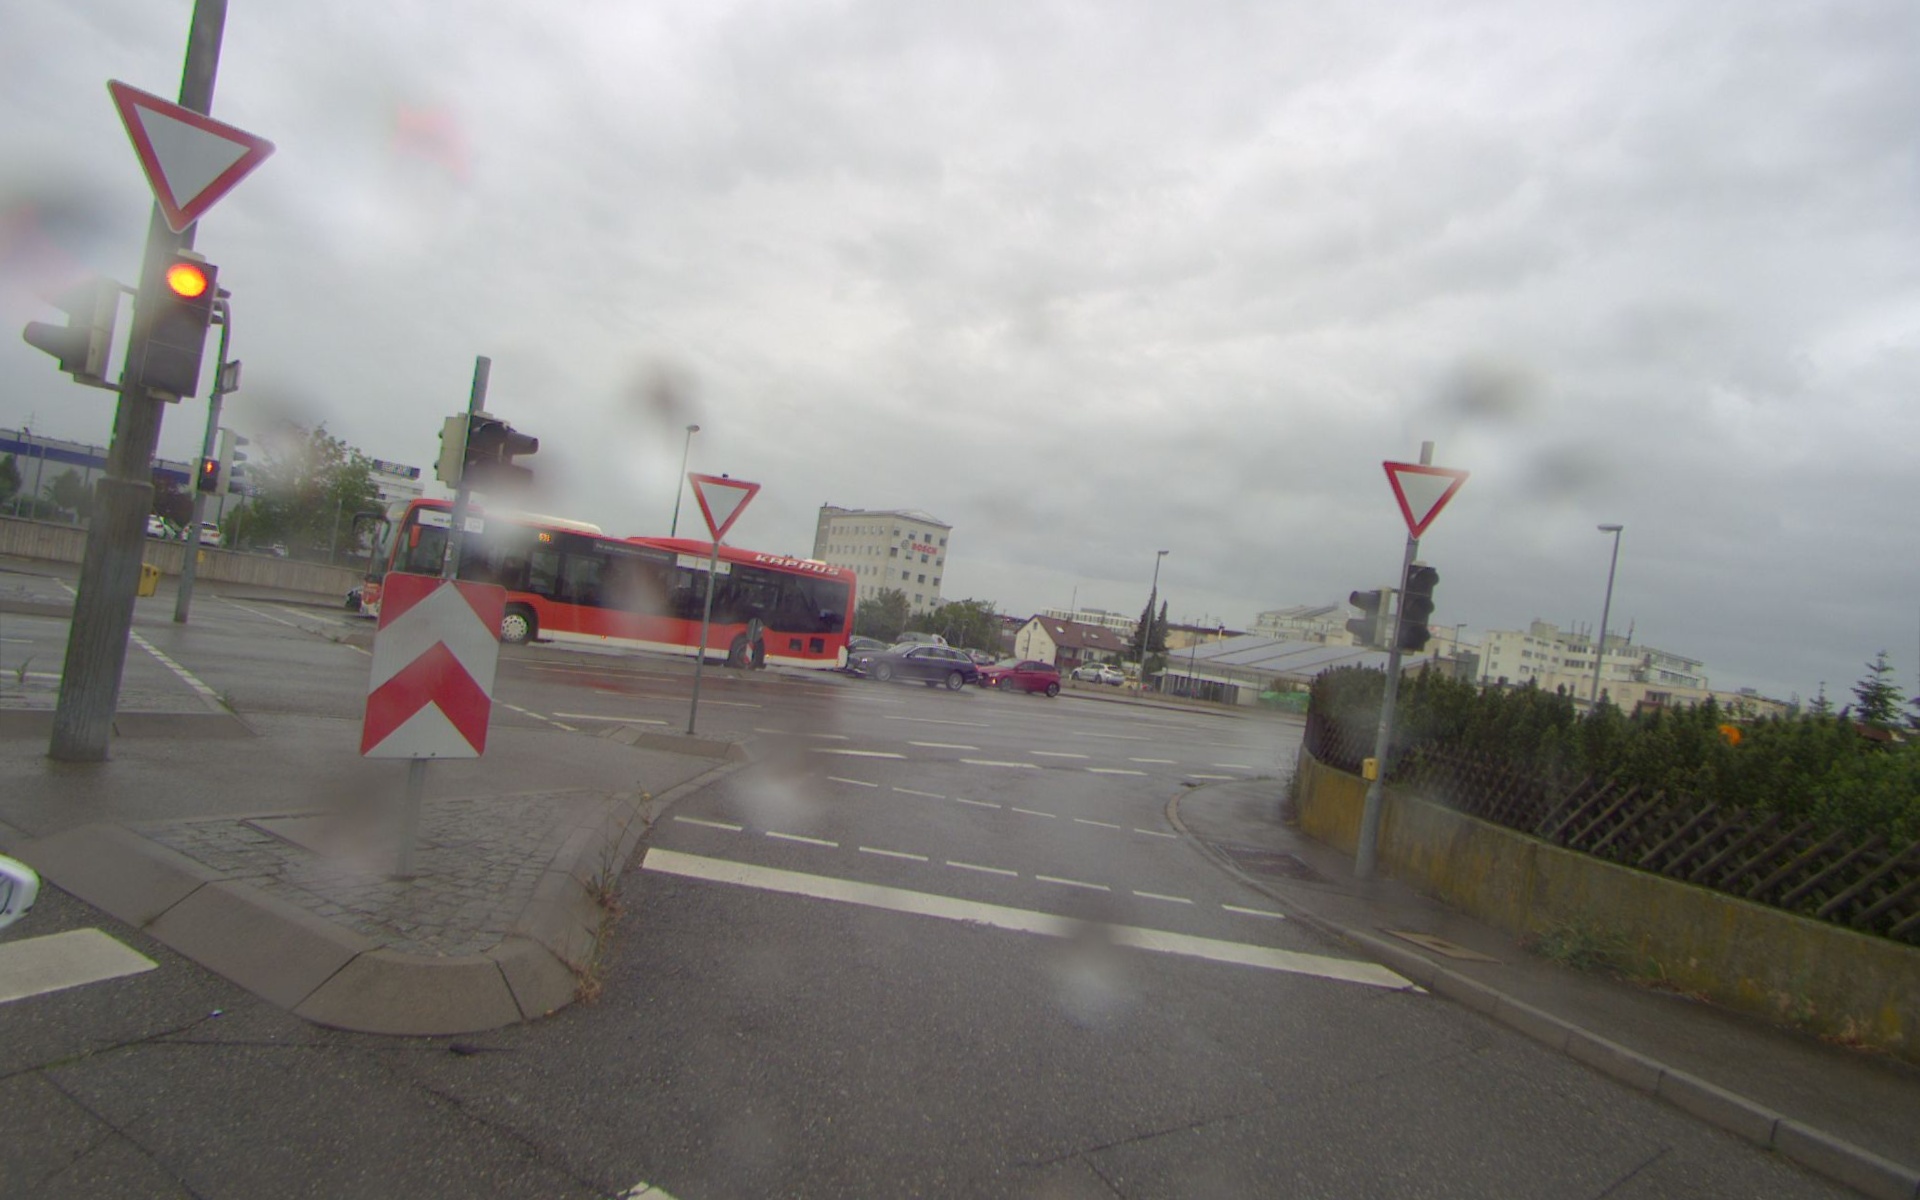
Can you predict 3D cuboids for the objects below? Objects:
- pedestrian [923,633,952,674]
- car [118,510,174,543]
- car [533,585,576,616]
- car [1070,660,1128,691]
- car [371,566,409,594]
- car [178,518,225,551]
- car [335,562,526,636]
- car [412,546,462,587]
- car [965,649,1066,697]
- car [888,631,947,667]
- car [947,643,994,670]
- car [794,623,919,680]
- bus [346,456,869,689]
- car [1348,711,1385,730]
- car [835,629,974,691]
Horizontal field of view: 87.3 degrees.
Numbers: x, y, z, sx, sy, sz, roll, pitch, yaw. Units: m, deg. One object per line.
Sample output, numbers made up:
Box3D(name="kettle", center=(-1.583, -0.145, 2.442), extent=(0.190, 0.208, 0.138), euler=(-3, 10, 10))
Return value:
Box3D(name="pedestrian", center=(-1.039, 2.430, 45.906), extent=(0.819, 1.723, 0.893), euler=(8, -1, -30))
Box3D(name="car", center=(-45.615, -4.109, 56.449), extent=(1.805, 1.450, 4.071), euler=(8, -2, -32))
Box3D(name="car", center=(-31.898, 0.047, 79.079), extent=(1.983, 2.037, 3.962), euler=(8, -2, -36))
Box3D(name="car", center=(9.651, 5.224, 70.121), extent=(1.976, 1.561, 3.977), euler=(9, -2, -25))
Box3D(name="car", center=(-41.515, -1.460, 73.264), extent=(1.912, 1.607, 3.754), euler=(9, -2, -34))
Box3D(name="car", center=(-43.828, -3.756, 58.217), extent=(1.847, 1.543, 4.066), euler=(8, -2, -35))
Box3D(name="car", center=(-14.820, 0.005, 28.298), extent=(4.367, 1.370, 1.804), euler=(10, -3, -42))
Box3D(name="car", center=(-30.046, -1.972, 57.740), extent=(1.734, 2.037, 3.786), euler=(8, -2, -37))
Box3D(name="car", center=(2.402, 3.137, 43.080), extent=(3.948, 1.525, 1.853), euler=(9, -2, -36))
Box3D(name="car", center=(-2.628, 2.970, 61.616), extent=(1.912, 1.684, 3.869), euler=(9, -2, -29))
Box3D(name="car", center=(0.852, 4.693, 83.603), extent=(1.980, 1.636, 3.970), euler=(9, -2, -30))
Box3D(name="car", center=(-3.894, 1.982, 38.189), extent=(4.367, 1.555, 1.804), euler=(10, -3, -42))
Box3D(name="bus", center=(-8.304, -0.294, 25.933), extent=(12.223, 3.614, 2.952), euler=(12, -4, -41))
Box3D(name="car", center=(41.312, 12.295, 102.303), extent=(3.616, 1.436, 1.720), euler=(10, -2, -36))
Box3D(name="car", center=(-1.915, 2.115, 35.144), extent=(4.329, 1.524, 1.985), euler=(9, -2, -31))
